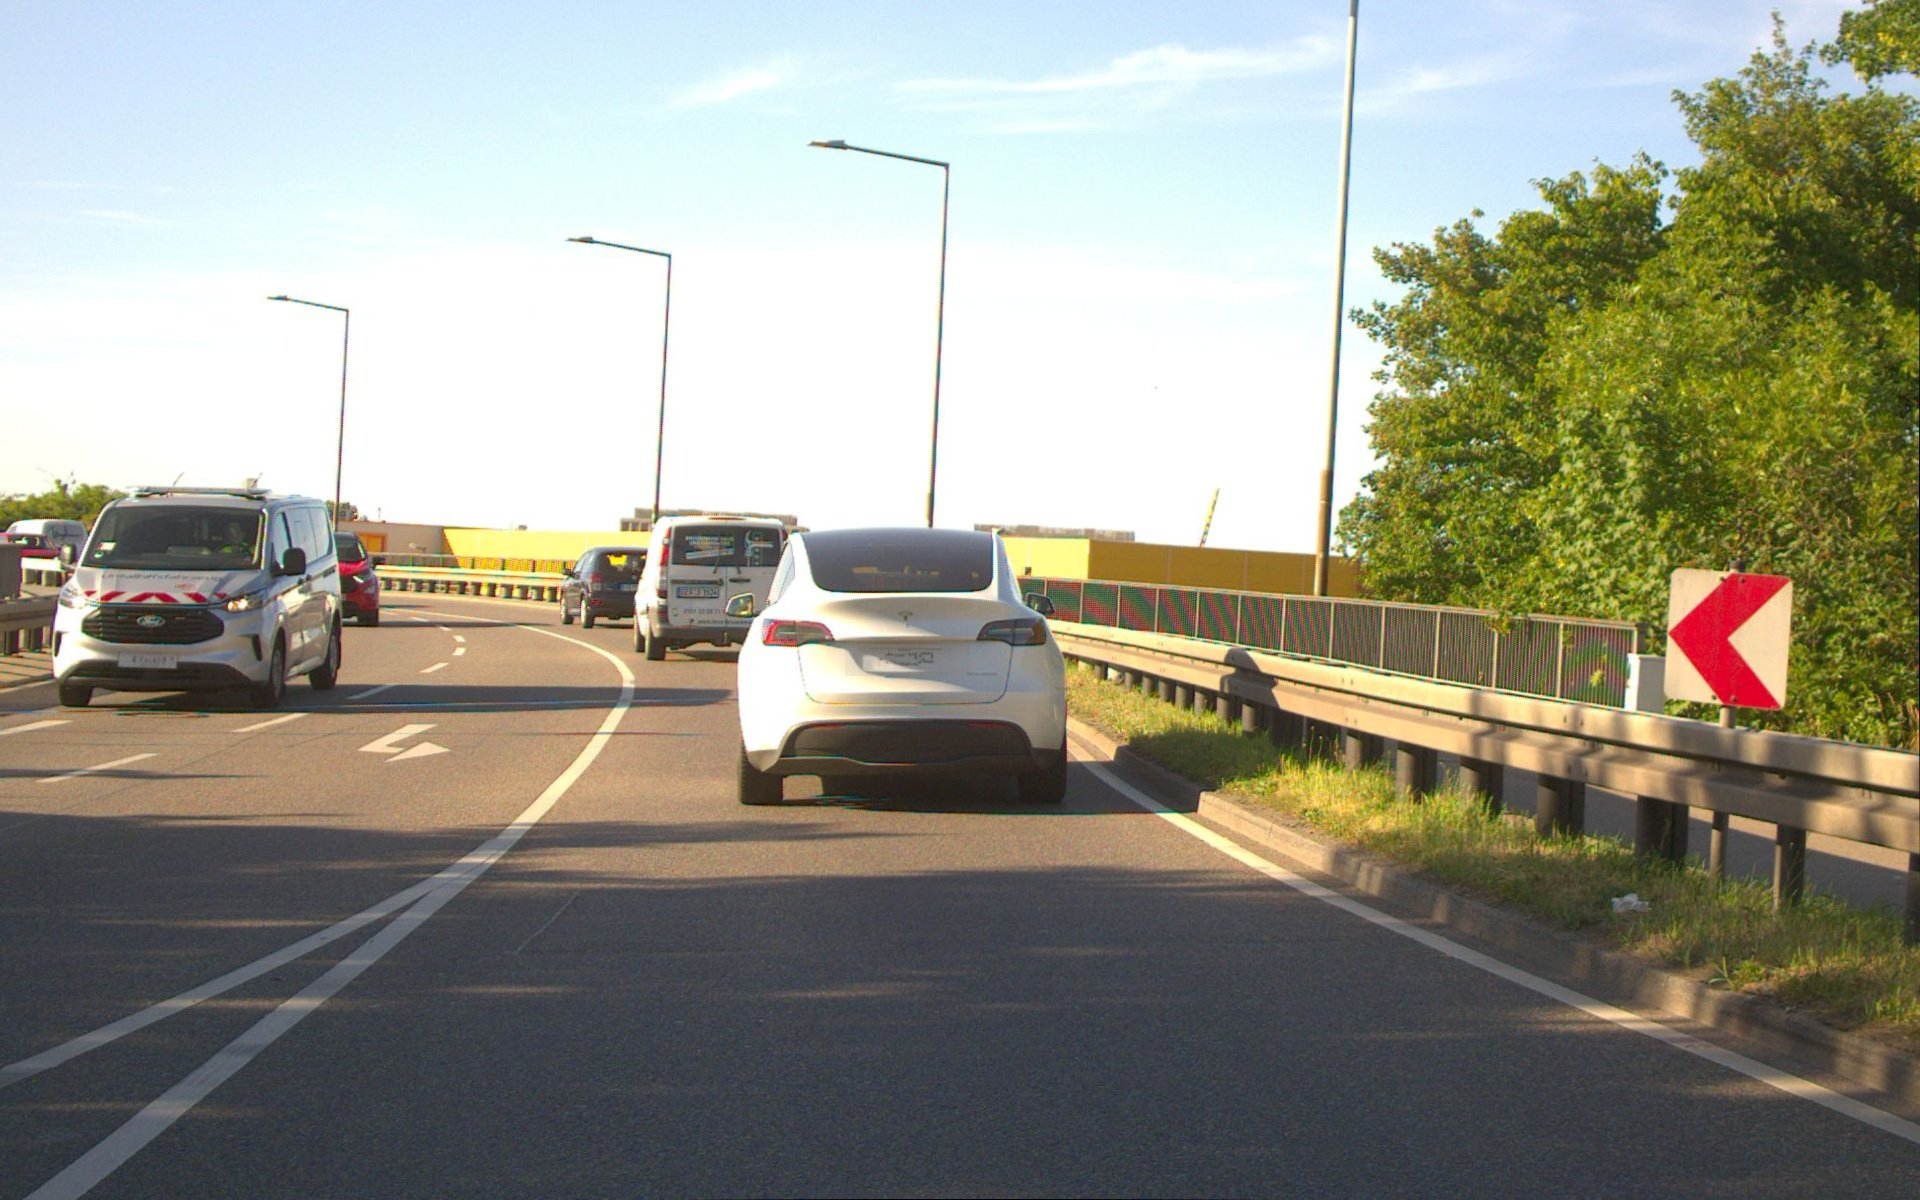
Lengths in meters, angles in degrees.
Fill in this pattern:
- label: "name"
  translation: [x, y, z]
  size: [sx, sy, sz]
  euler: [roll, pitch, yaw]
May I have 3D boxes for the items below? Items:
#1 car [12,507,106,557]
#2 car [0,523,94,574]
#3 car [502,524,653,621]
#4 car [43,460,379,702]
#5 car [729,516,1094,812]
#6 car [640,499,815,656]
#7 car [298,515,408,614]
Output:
- label: "car"
  translation: [-29.035, -2.204, 110.752]
  size: [1.835, 1.550, 3.893]
  euler: [1, 1, -32]
- label: "car"
  translation: [-26.800, -1.531, 100.625]
  size: [1.781, 1.432, 3.875]
  euler: [0, 1, -31]
- label: "car"
  translation: [-6.734, -0.505, 60.175]
  size: [1.968, 1.632, 4.001]
  euler: [0, 1, -16]
- label: "car"
  translation: [-7.078, -0.226, 33.053]
  size: [1.949, 2.105, 5.271]
  euler: [1, 1, 1]
- label: "car"
  translation: [-0.401, 0.317, 21.016]
  size: [1.985, 1.632, 4.063]
  euler: [0, 1, -4]
- label: "car"
  translation: [-3.128, -0.325, 45.518]
  size: [2.005, 1.934, 4.468]
  euler: [1, 1, -7]
- label: "car"
  translation: [-10.561, -0.635, 59.861]
  size: [1.803, 1.632, 4.001]
  euler: [1, 1, -10]
